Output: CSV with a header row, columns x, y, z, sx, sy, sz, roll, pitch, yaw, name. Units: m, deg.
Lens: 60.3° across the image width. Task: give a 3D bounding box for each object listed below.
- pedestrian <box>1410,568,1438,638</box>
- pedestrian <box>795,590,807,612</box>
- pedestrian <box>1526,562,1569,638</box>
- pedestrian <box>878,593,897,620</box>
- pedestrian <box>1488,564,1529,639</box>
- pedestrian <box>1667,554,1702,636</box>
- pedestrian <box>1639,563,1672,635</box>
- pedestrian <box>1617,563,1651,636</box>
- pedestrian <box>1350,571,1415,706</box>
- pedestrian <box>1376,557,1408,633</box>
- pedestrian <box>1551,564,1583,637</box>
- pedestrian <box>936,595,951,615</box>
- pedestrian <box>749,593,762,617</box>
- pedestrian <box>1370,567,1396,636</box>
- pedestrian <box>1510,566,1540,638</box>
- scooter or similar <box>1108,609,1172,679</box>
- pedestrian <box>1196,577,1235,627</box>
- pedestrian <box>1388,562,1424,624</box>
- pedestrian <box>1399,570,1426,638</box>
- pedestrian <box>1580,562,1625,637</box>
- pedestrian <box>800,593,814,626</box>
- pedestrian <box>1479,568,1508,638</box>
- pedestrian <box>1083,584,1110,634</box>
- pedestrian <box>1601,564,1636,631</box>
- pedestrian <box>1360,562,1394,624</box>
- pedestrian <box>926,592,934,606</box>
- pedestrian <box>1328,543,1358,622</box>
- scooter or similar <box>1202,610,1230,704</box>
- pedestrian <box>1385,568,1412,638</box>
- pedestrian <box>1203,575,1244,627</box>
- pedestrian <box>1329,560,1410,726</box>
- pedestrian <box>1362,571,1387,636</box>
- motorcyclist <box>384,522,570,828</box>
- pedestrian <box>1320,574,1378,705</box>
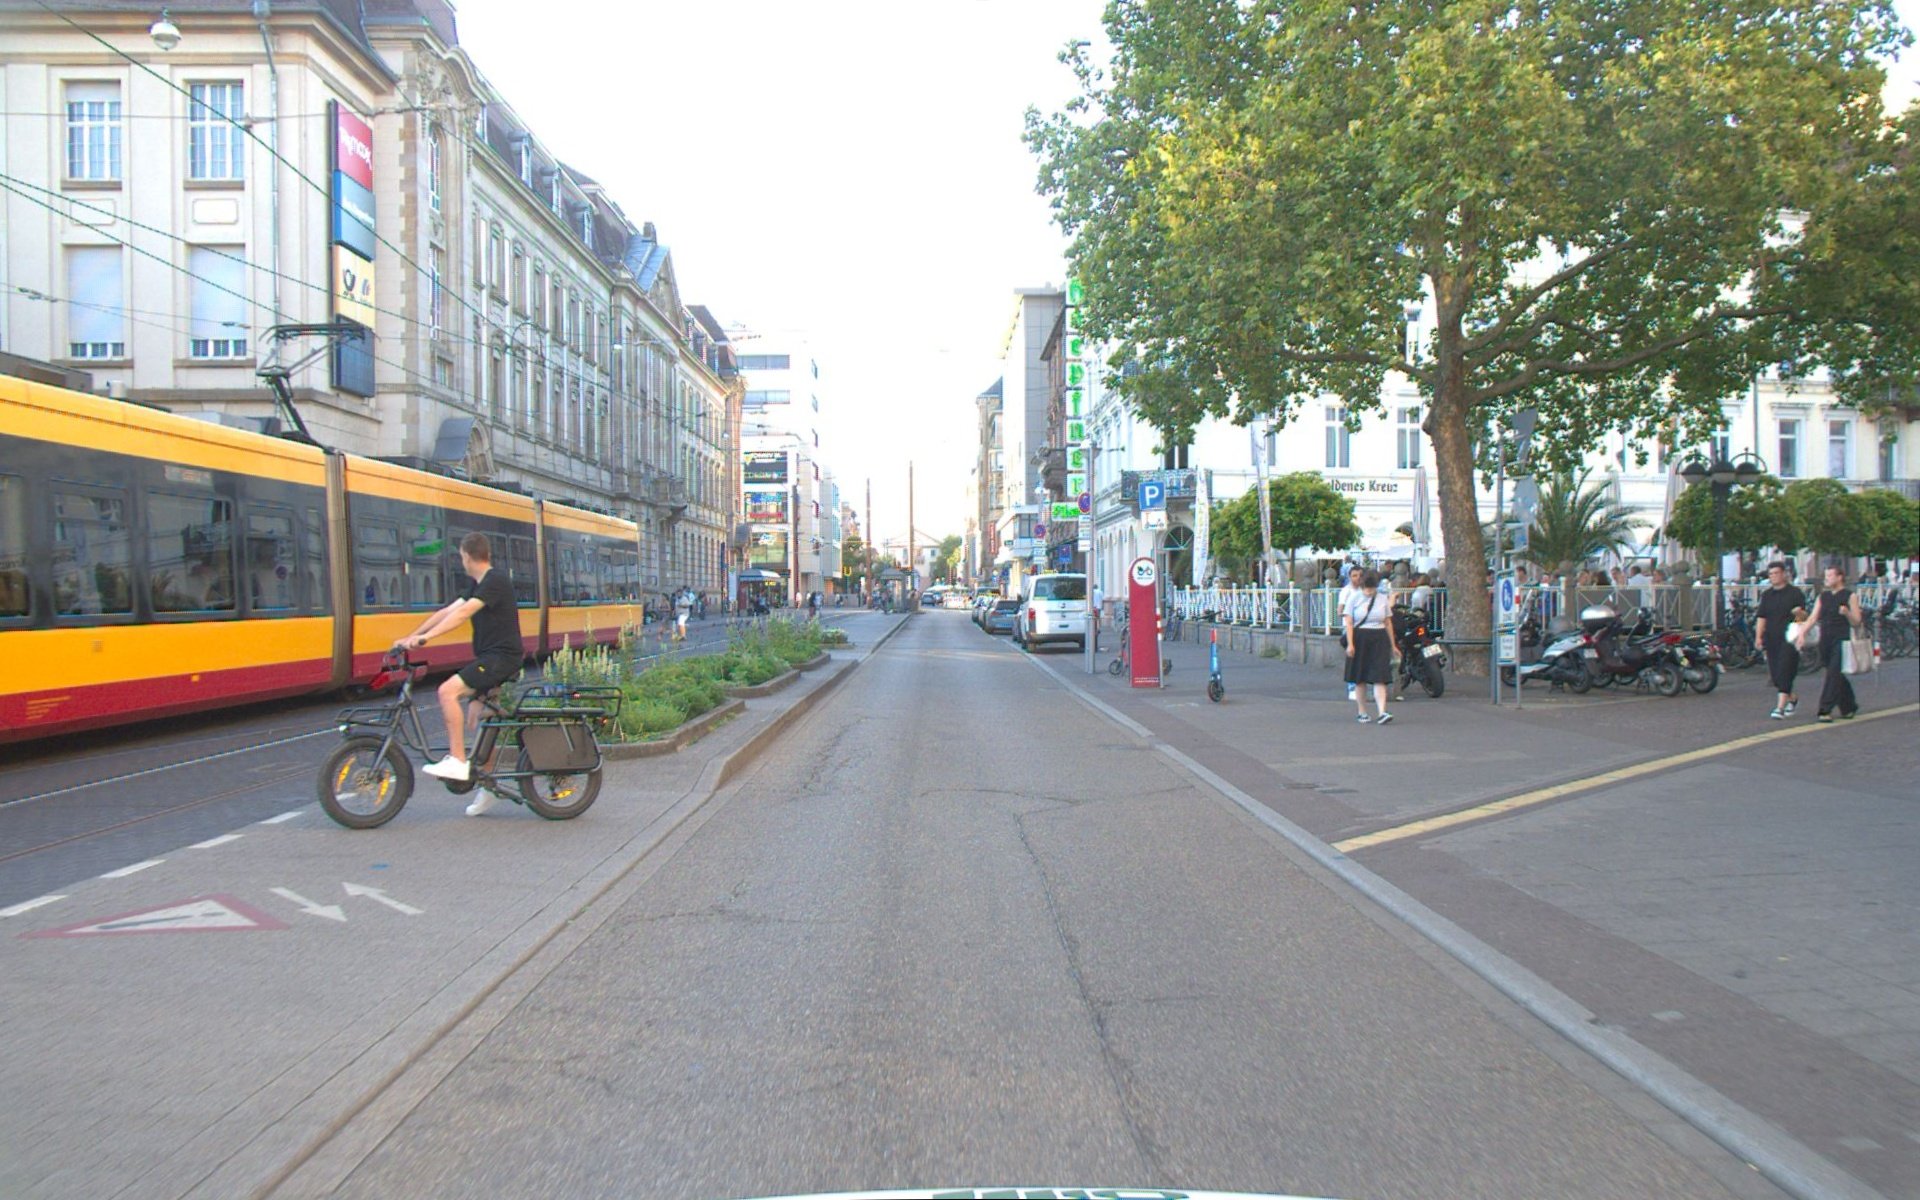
x,y,z,sx,sy,sz,roll,pitch,yaw,name
8.805,0.064,31.390,0.463,1.307,0.540,-1,-2,13,pedestrian
-14.605,0.087,151.876,0.891,1.962,0.847,0,0,-17,pedestrian
10.354,0.011,29.150,0.630,1.307,0.741,-1,-2,15,pedestrian
-4.676,0.422,107.010,1.026,1.715,0.909,-1,-2,10,pedestrian
9.739,0.031,29.383,0.630,1.307,0.741,-1,-2,15,pedestrian
12.932,-0.081,29.528,0.464,1.424,0.540,-1,-2,15,pedestrian
12.821,-0.009,30.489,0.464,1.307,0.540,-1,-2,15,pedestrian
12.166,-0.003,29.853,0.464,1.307,0.540,-1,-2,15,pedestrian
5.565,0.504,21.803,0.664,1.747,0.654,-1,-2,1,pedestrian
9.280,-0.102,35.551,0.605,1.599,0.631,-1,-2,13,pedestrian
11.088,0.012,30.220,0.464,1.307,0.540,-1,-2,15,pedestrian
-1.548,0.487,158.453,1.210,1.962,1.017,0,0,-17,pedestrian
-13.367,0.326,107.928,0.764,1.608,0.677,-1,0,-13,pedestrian
8.654,0.044,33.850,0.463,1.388,0.540,-1,-2,13,pedestrian
10.459,0.038,30.647,0.464,1.307,0.540,-1,-2,15,pedestrian
3.284,0.798,30.228,1.102,1.237,0.300,-2,1,0,scooter or similar
7.009,0.062,45.369,0.884,1.329,0.966,-1,-2,-2,pedestrian
12.228,-0.194,45.380,0.742,1.672,0.659,-1,-2,-3,pedestrian
8.759,0.081,32.013,0.463,1.307,0.540,-1,-2,13,pedestrian
11.362,-0.003,29.269,0.630,1.307,0.741,-1,-2,15,pedestrian
-7.763,0.477,83.722,0.676,1.665,0.580,0,0,-9,pedestrian
10.019,0.061,31.052,0.466,1.307,0.525,-1,-2,16,pedestrian
4.931,0.327,59.867,0.772,1.782,0.893,-1,-2,-8,pedestrian
13.163,-0.048,33.080,0.527,1.307,0.475,-1,-2,9,pedestrian
11.411,-0.177,45.267,0.742,1.672,0.659,-1,-2,-2,pedestrian
-3.953,-0.120,218.886,0.768,1.765,0.809,-2,-2,39,pedestrian
11.411,-0.517,49.294,0.604,2.345,0.577,0,-2,-23,pedestrian
3.525,0.767,22.786,0.308,1.243,1.273,0,0,6,scooter or similar
8.645,0.072,32.622,0.463,1.353,0.540,-1,-2,13,pedestrian
7.055,0.035,44.306,0.884,1.337,0.966,-1,-2,-2,pedestrian
4.648,0.479,18.829,0.699,1.835,0.824,-1,-1,2,pedestrian
8.641,0.084,34.470,0.463,1.328,0.540,-1,-2,13,pedestrian
-3.122,0.464,10.646,0.990,1.845,0.951,0,-2,-28,motorcyclist
5.284,0.541,22.489,0.601,1.747,0.662,-1,-2,1,pedestrian
